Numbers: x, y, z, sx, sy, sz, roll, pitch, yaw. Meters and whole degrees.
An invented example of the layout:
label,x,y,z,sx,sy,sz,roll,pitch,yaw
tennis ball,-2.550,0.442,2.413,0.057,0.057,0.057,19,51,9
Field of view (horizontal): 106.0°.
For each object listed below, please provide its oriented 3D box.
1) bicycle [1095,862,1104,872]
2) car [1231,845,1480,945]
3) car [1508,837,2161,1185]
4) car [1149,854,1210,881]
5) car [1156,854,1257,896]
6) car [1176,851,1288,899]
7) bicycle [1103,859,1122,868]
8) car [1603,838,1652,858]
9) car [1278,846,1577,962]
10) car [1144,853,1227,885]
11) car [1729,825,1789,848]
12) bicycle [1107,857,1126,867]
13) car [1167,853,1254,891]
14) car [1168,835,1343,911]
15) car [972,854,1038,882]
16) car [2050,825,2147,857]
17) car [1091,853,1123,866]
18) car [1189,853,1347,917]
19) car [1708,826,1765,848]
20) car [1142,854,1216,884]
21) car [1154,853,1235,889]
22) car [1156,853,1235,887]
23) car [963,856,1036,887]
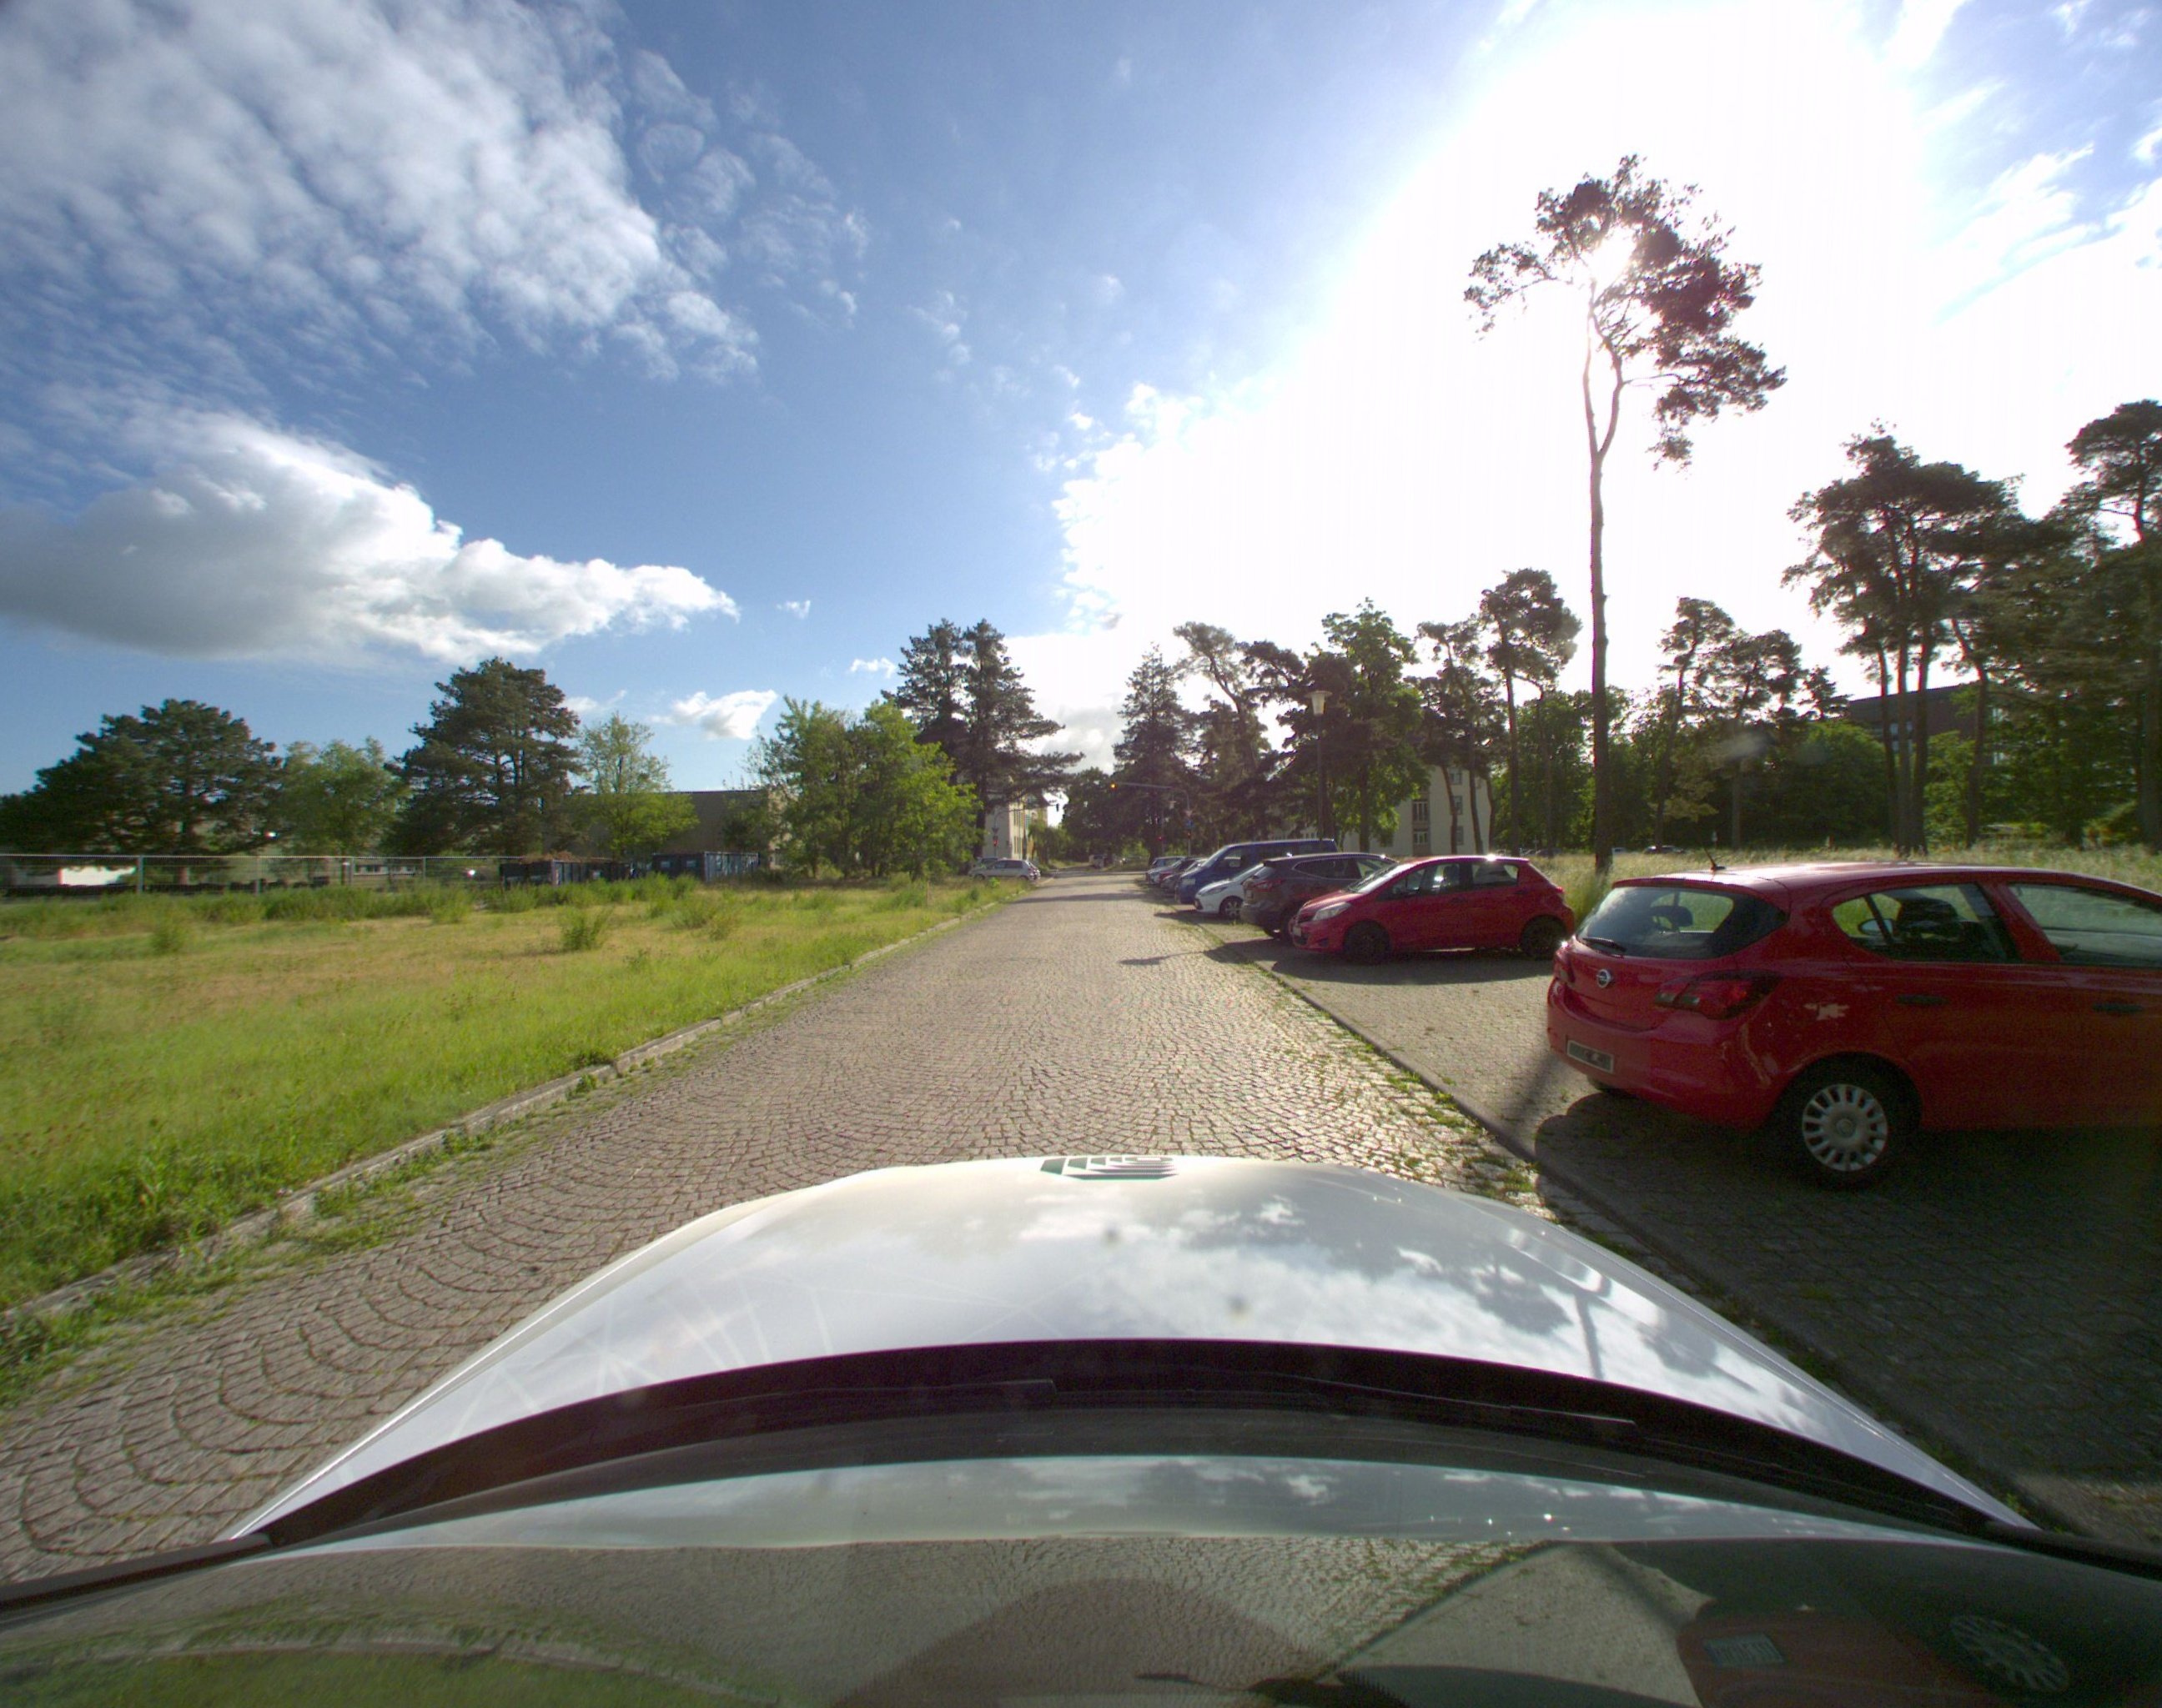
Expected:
label,x,y,z,sx,sy,sz,roll,pitch,yaw
bicycle,2.132,1.489,93.118,0.803,1.169,2.176,-3,0,-5
car,4.864,0.699,14.811,3.923,1.621,1.771,-1,0,-1
car,4.738,0.706,4.548,3.814,1.478,1.645,-2,0,0
car,5.721,0.785,47.534,3.333,1.483,1.645,-1,0,-1
car,4.886,0.797,31.977,3.663,1.467,1.645,-2,0,-1
car,5.337,0.732,29.084,3.680,1.466,1.646,-3,0,1
bicycle,3.699,1.100,96.564,2.172,1.100,0.804,-1,0,-9
car,59.880,-0.647,89.261,3.973,2.013,2.000,-1,0,1
car,5.023,0.698,12.147,3.751,1.530,1.645,-1,0,-1
car,5.351,0.780,42.125,4.025,1.529,1.644,-1,0,-3
car,64.016,-1.626,76.901,3.973,2.013,2.000,-1,0,1
bicycle,4.230,0.950,98.037,2.172,1.100,0.804,-1,0,-9
car,5.516,0.760,34.890,3.467,1.529,1.645,-1,0,-1
car,5.022,0.526,23.910,4.665,2.013,2.082,-1,0,-2
car,-4.815,0.864,52.274,3.973,1.601,2.000,2,0,0
car,68.526,-0.860,54.883,3.973,2.013,2.000,-1,0,1
car,3.579,0.819,114.044,4.465,1.728,2.000,-1,0,0
car,4.801,0.775,21.232,3.709,1.488,1.644,-2,0,-2
car,63.907,-1.665,79.421,3.973,2.013,2.000,-1,0,1
car,5.361,0.809,44.897,3.823,1.529,1.645,-1,0,-1
car,5.195,0.771,37.586,3.467,1.529,1.645,-1,0,-1
car,5.591,0.769,40.043,3.591,1.529,1.645,-1,0,-1
car,-4.651,0.990,46.880,3.976,1.600,1.999,-1,0,-2
